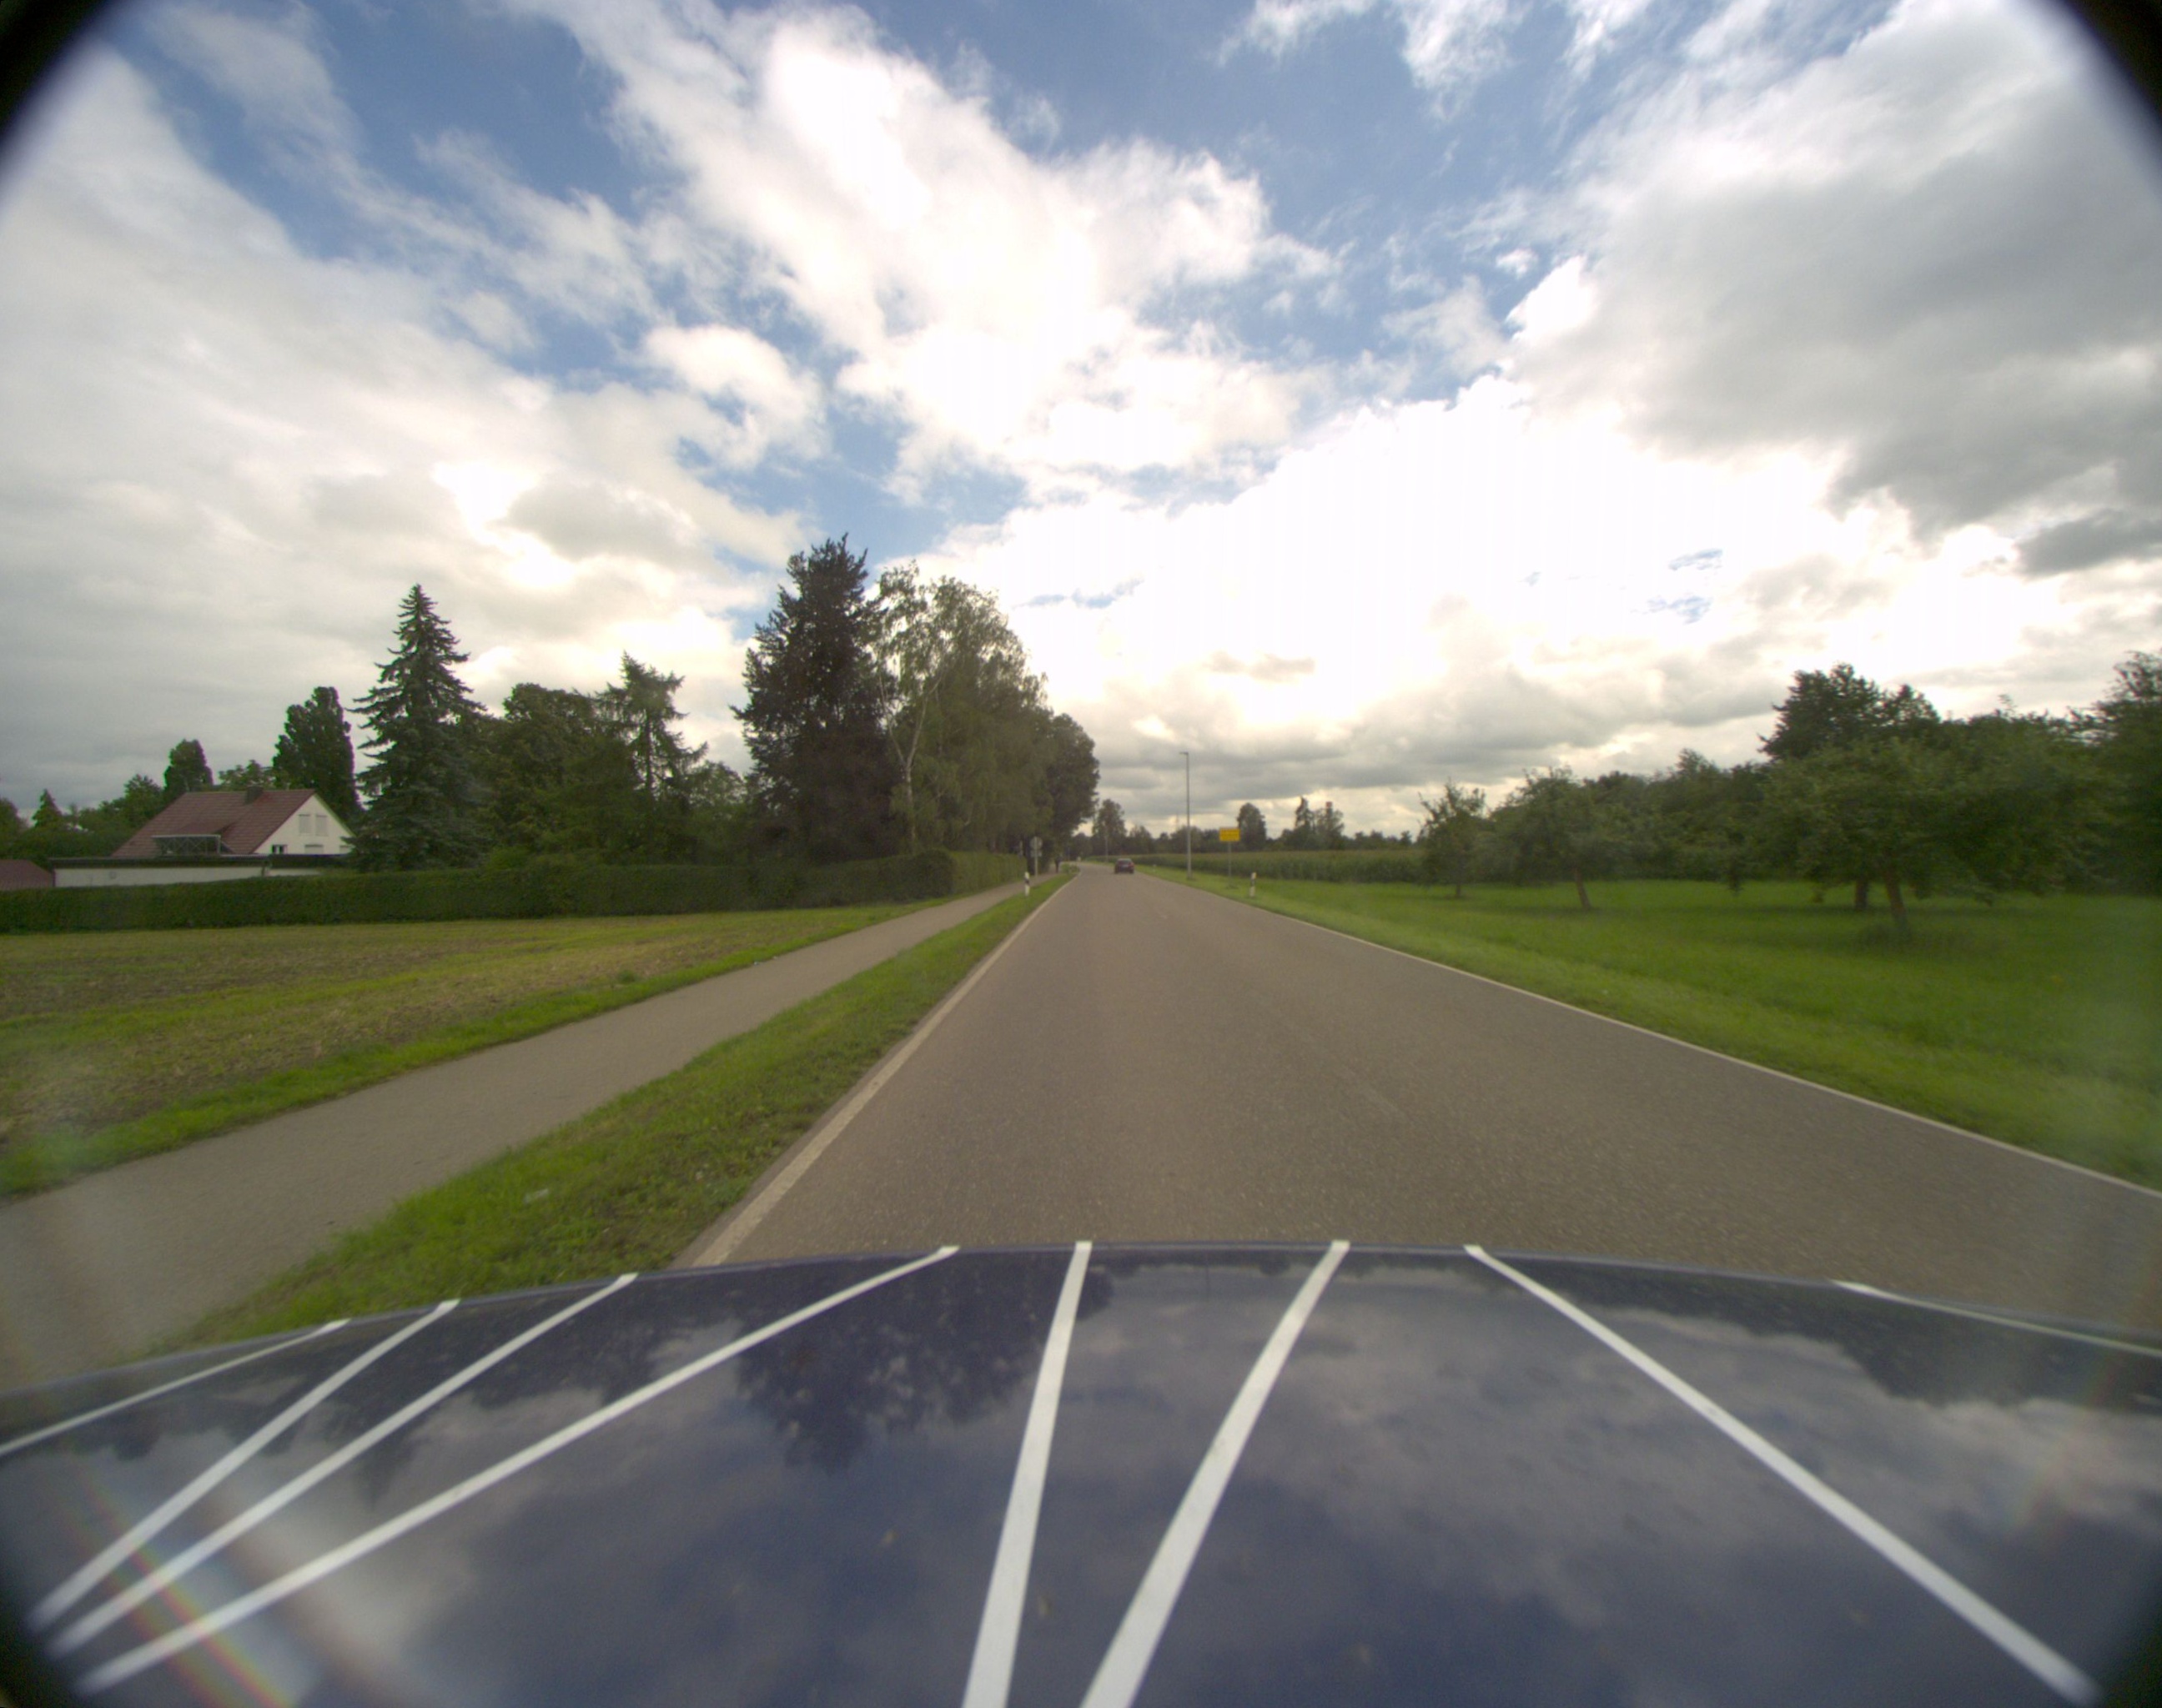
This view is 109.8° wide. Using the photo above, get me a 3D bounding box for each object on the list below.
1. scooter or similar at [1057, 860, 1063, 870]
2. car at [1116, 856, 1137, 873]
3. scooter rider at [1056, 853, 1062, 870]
[{"bbox_3d":[-2.542,1.309,90.946,0.650,1.157,1.695,-2,0,1],"label":"scooter or similar"},{"bbox_3d":[4.445,1.028,74.511,1.868,1.543,4.182,1,0,1],"label":"car"},{"bbox_3d":[-2.585,0.863,90.781,0.643,1.954,0.786,-2,1,1],"label":"scooter rider"}]
